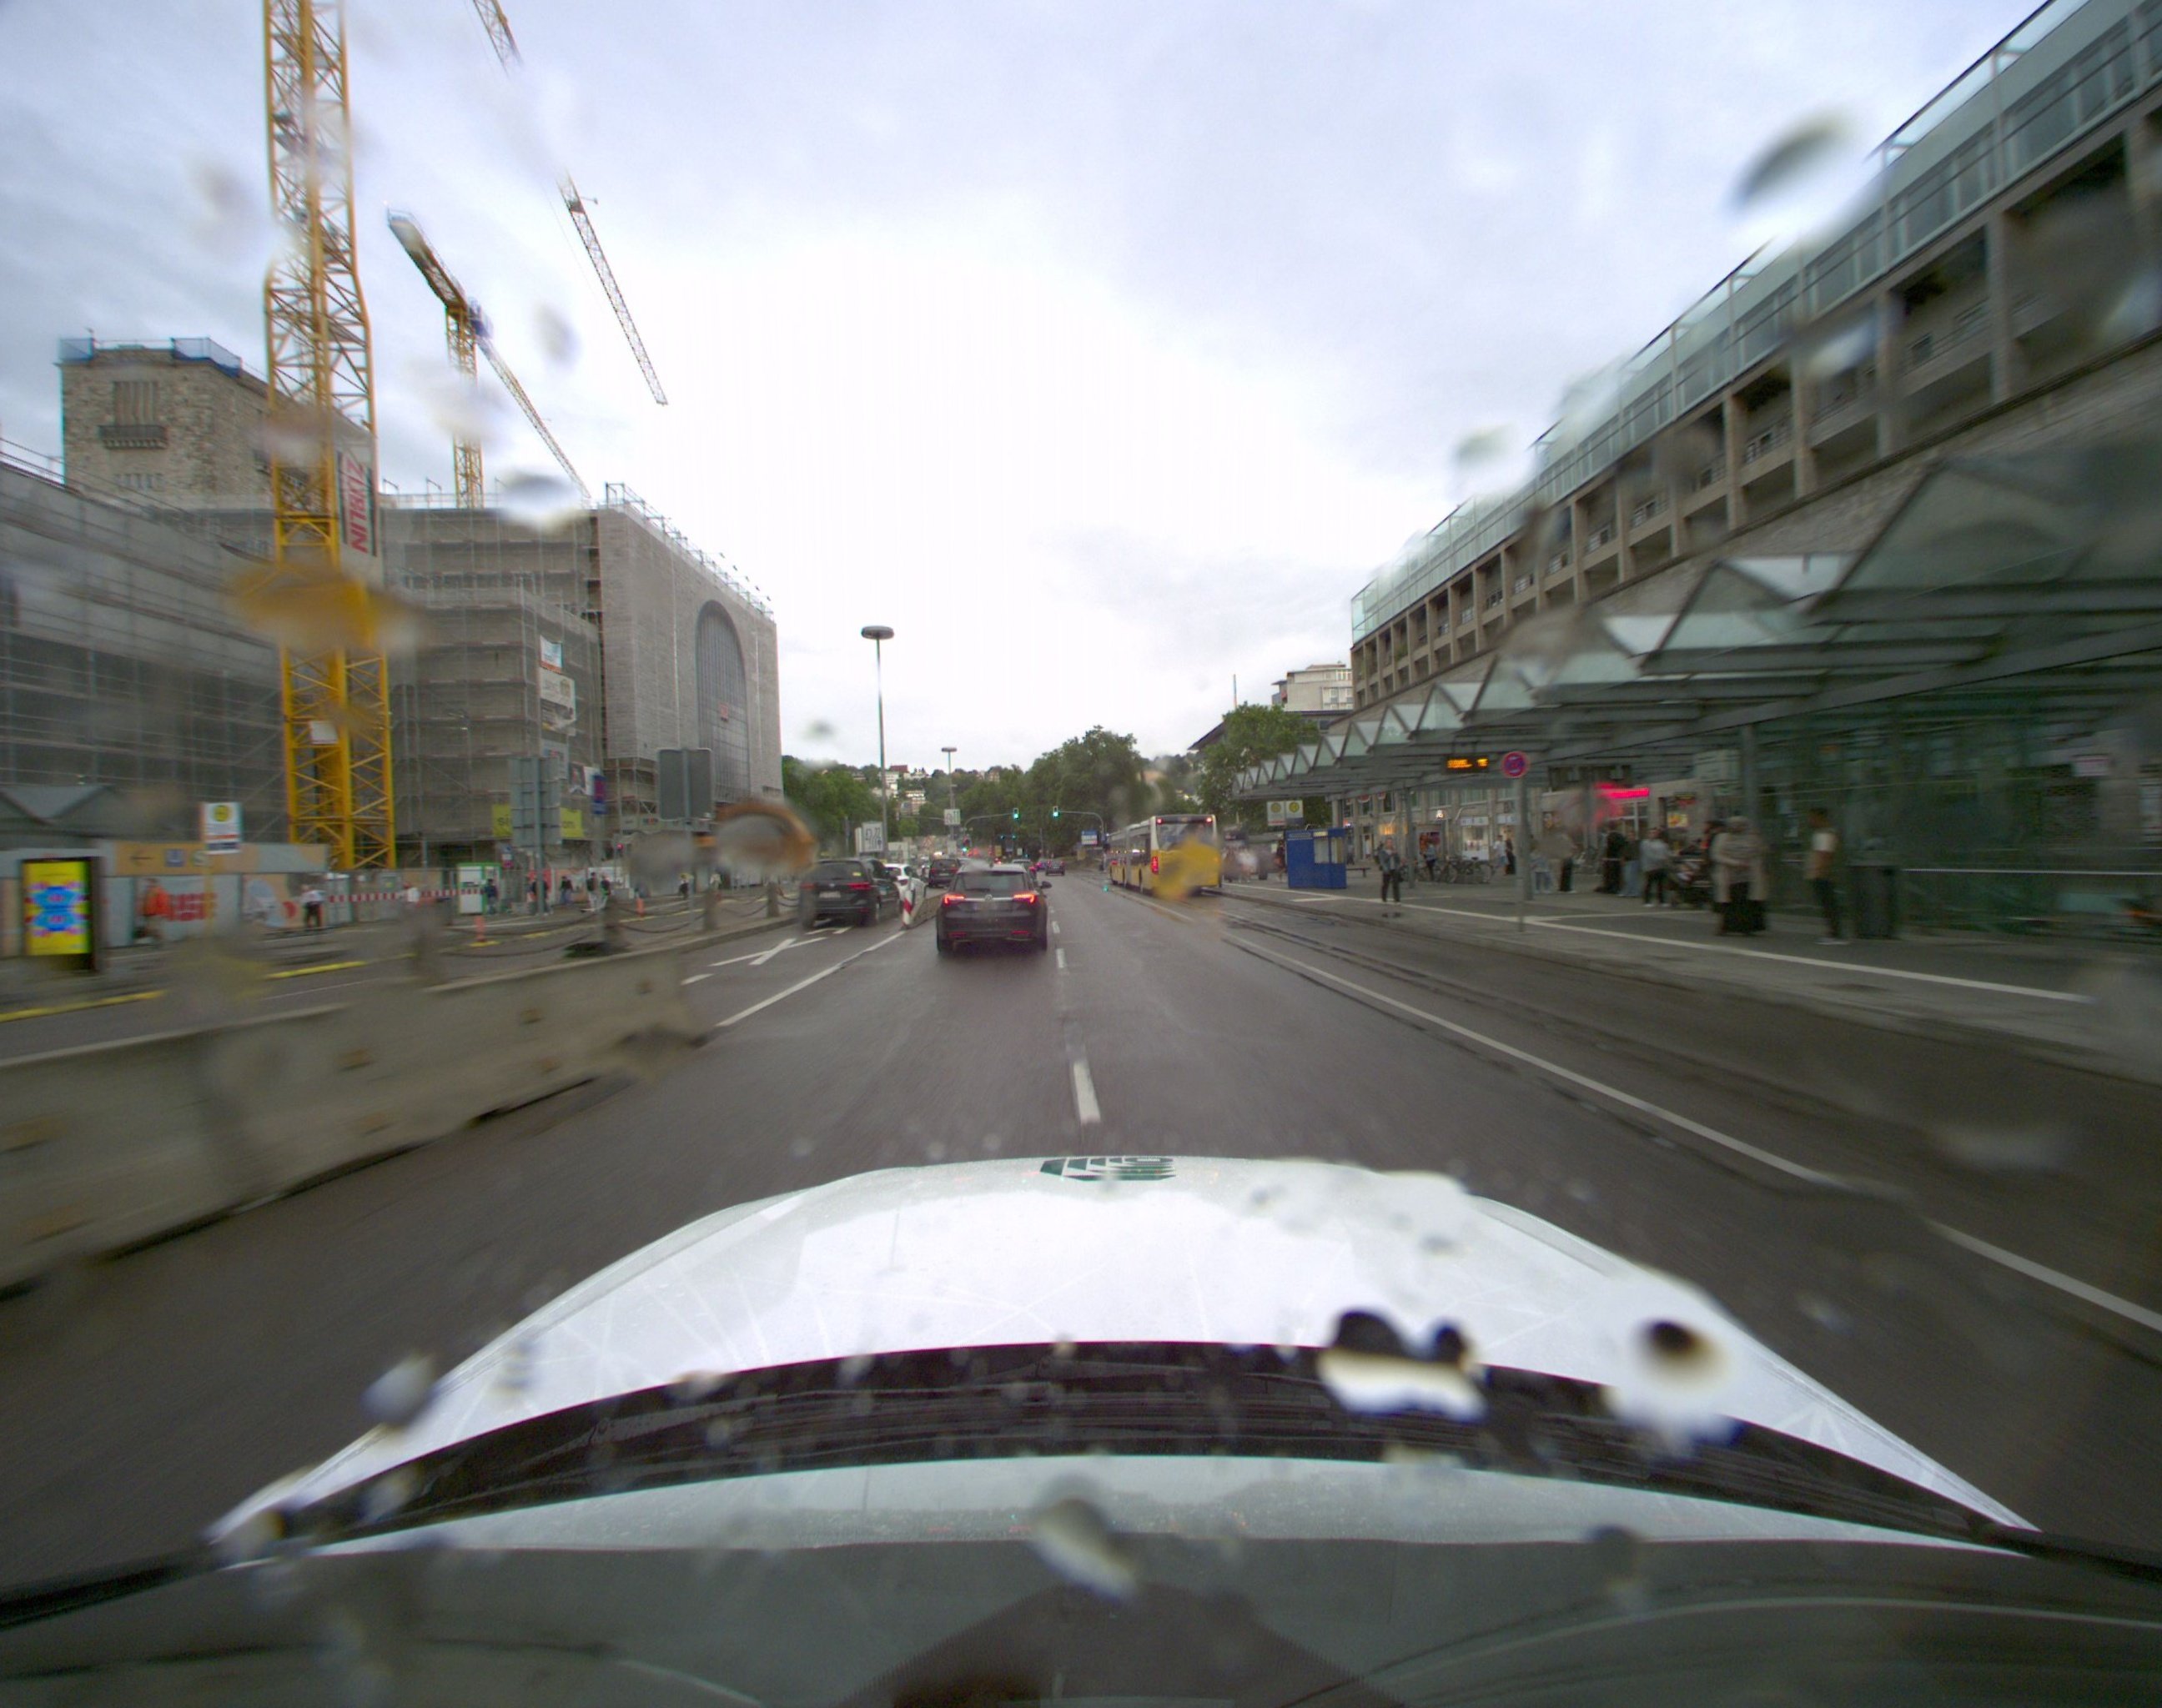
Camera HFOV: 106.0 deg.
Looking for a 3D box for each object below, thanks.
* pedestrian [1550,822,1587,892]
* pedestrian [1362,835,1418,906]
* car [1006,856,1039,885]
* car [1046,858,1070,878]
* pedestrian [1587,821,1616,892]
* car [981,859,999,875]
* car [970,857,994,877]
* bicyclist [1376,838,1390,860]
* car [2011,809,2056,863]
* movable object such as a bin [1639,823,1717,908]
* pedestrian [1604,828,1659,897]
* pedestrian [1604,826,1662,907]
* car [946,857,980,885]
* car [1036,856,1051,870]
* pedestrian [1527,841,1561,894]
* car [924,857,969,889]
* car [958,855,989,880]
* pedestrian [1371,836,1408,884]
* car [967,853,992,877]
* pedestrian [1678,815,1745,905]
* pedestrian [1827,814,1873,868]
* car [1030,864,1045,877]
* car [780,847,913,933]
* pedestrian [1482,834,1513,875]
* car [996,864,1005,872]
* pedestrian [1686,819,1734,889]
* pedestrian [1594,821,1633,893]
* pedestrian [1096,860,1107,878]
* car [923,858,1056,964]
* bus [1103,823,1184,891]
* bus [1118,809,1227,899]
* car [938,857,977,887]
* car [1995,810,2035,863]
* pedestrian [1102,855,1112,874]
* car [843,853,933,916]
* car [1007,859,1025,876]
[{"bbox_3d":[13.091,0.080,21.872,0.604,1.860,0.626,-2,-1,6],"label":"pedestrian"},{"bbox_3d":[7.657,0.393,20.203,0.763,1.690,0.991,-2,-1,-24],"label":"pedestrian"},{"bbox_3d":[-3.736,1.042,52.582,1.826,1.686,4.131,-2,0,-2],"label":"car"},{"bbox_3d":[-2.048,1.227,71.880,1.849,1.717,3.992,-1,-1,-5],"label":"car"},{"bbox_3d":[13.977,0.062,21.863,0.590,1.874,0.595,-2,-1,32],"label":"pedestrian"},{"bbox_3d":[-10.788,1.567,96.212,1.992,1.845,5.049,-1,-1,-7],"label":"car"},{"bbox_3d":[-9.056,1.207,74.791,1.782,1.685,4.661,-3,0,-3],"label":"car"},{"bbox_3d":[22.358,-0.370,60.339,0.648,1.554,0.907,-3,-1,-1],"label":"bicyclist"},{"bbox_3d":[27.696,-0.521,23.684,0.587,1.539,0.567,-1,-1,0],"label":"car"},{"bbox_3d":[12.051,0.232,16.453,0.666,1.652,1.040,-2,-1,-26],"label":"movable object such as a bin"},{"bbox_3d":[13.337,0.198,19.761,0.750,1.608,0.760,-2,-1,-8],"label":"pedestrian"},{"bbox_3d":[11.674,0.265,17.230,0.763,1.654,0.674,-2,-1,-26],"label":"pedestrian"},{"bbox_3d":[-8.246,1.153,57.264,1.990,1.787,4.446,-3,0,-5],"label":"car"},{"bbox_3d":[-4.418,1.014,95.571,1.671,1.581,3.235,-1,-1,-4],"label":"car"},{"bbox_3d":[12.430,0.357,21.879,0.551,1.377,0.507,-2,-1,-8],"label":"pedestrian"},{"bbox_3d":[-7.507,1.033,45.790,1.990,1.654,4.634,-3,0,-4],"label":"car"},{"bbox_3d":[-8.305,1.023,63.115,1.990,1.787,4.840,-3,0,-4],"label":"car"},{"bbox_3d":[11.966,0.229,31.594,0.791,1.805,0.983,-2,-1,-31],"label":"pedestrian"},{"bbox_3d":[-8.496,0.936,68.724,1.710,1.892,4.604,-3,0,-3],"label":"car"},{"bbox_3d":[13.365,0.121,17.279,0.749,1.848,0.760,-2,-1,-6],"label":"pedestrian"},{"bbox_3d":[25.122,-0.417,26.614,0.757,1.710,0.752,-2,-1,-3],"label":"pedestrian"},{"bbox_3d":[-6.082,2.276,113.976,1.901,1.717,3.992,-1,-1,-5],"label":"car"},{"bbox_3d":[-5.775,0.824,20.729,1.988,1.862,4.829,-3,0,-1],"label":"car"},{"bbox_3d":[17.647,0.031,34.543,0.975,1.695,0.863,-2,-1,38],"label":"pedestrian"},{"bbox_3d":[-16.104,2.807,162.291,1.705,1.665,3.695,-1,-1,-8],"label":"car"},{"bbox_3d":[16.881,-0.001,21.854,0.764,1.831,0.745,-1,-1,-32],"label":"pedestrian"},{"bbox_3d":[13.658,0.075,20.878,0.609,1.831,0.587,-1,-1,-32],"label":"pedestrian"},{"bbox_3d":[2.146,1.566,85.691,0.788,1.838,0.944,-2,-1,-18],"label":"pedestrian"},{"bbox_3d":[-1.437,0.868,14.580,1.872,1.508,4.849,-2,0,-1],"label":"car"},{"bbox_3d":[3.118,0.225,43.635,3.107,3.205,9.230,-1,-1,-3],"label":"bus"},{"bbox_3d":[3.568,0.059,34.489,3.134,3.248,9.125,-1,-1,-3],"label":"bus"},{"bbox_3d":[-7.812,1.102,52.010,2.046,1.711,5.047,-3,0,-4],"label":"car"},{"bbox_3d":[27.874,-0.516,24.315,0.587,1.539,0.471,-1,-1,-1],"label":"car"},{"bbox_3d":[2.634,1.065,82.855,0.747,1.805,0.705,-2,-1,-19],"label":"pedestrian"},{"bbox_3d":[-6.017,0.903,25.961,1.990,1.706,4.825,-3,0,-4],"label":"car"},{"bbox_3d":[-8.112,1.727,101.198,1.981,2.014,4.359,-1,-1,-6],"label":"car"}]
